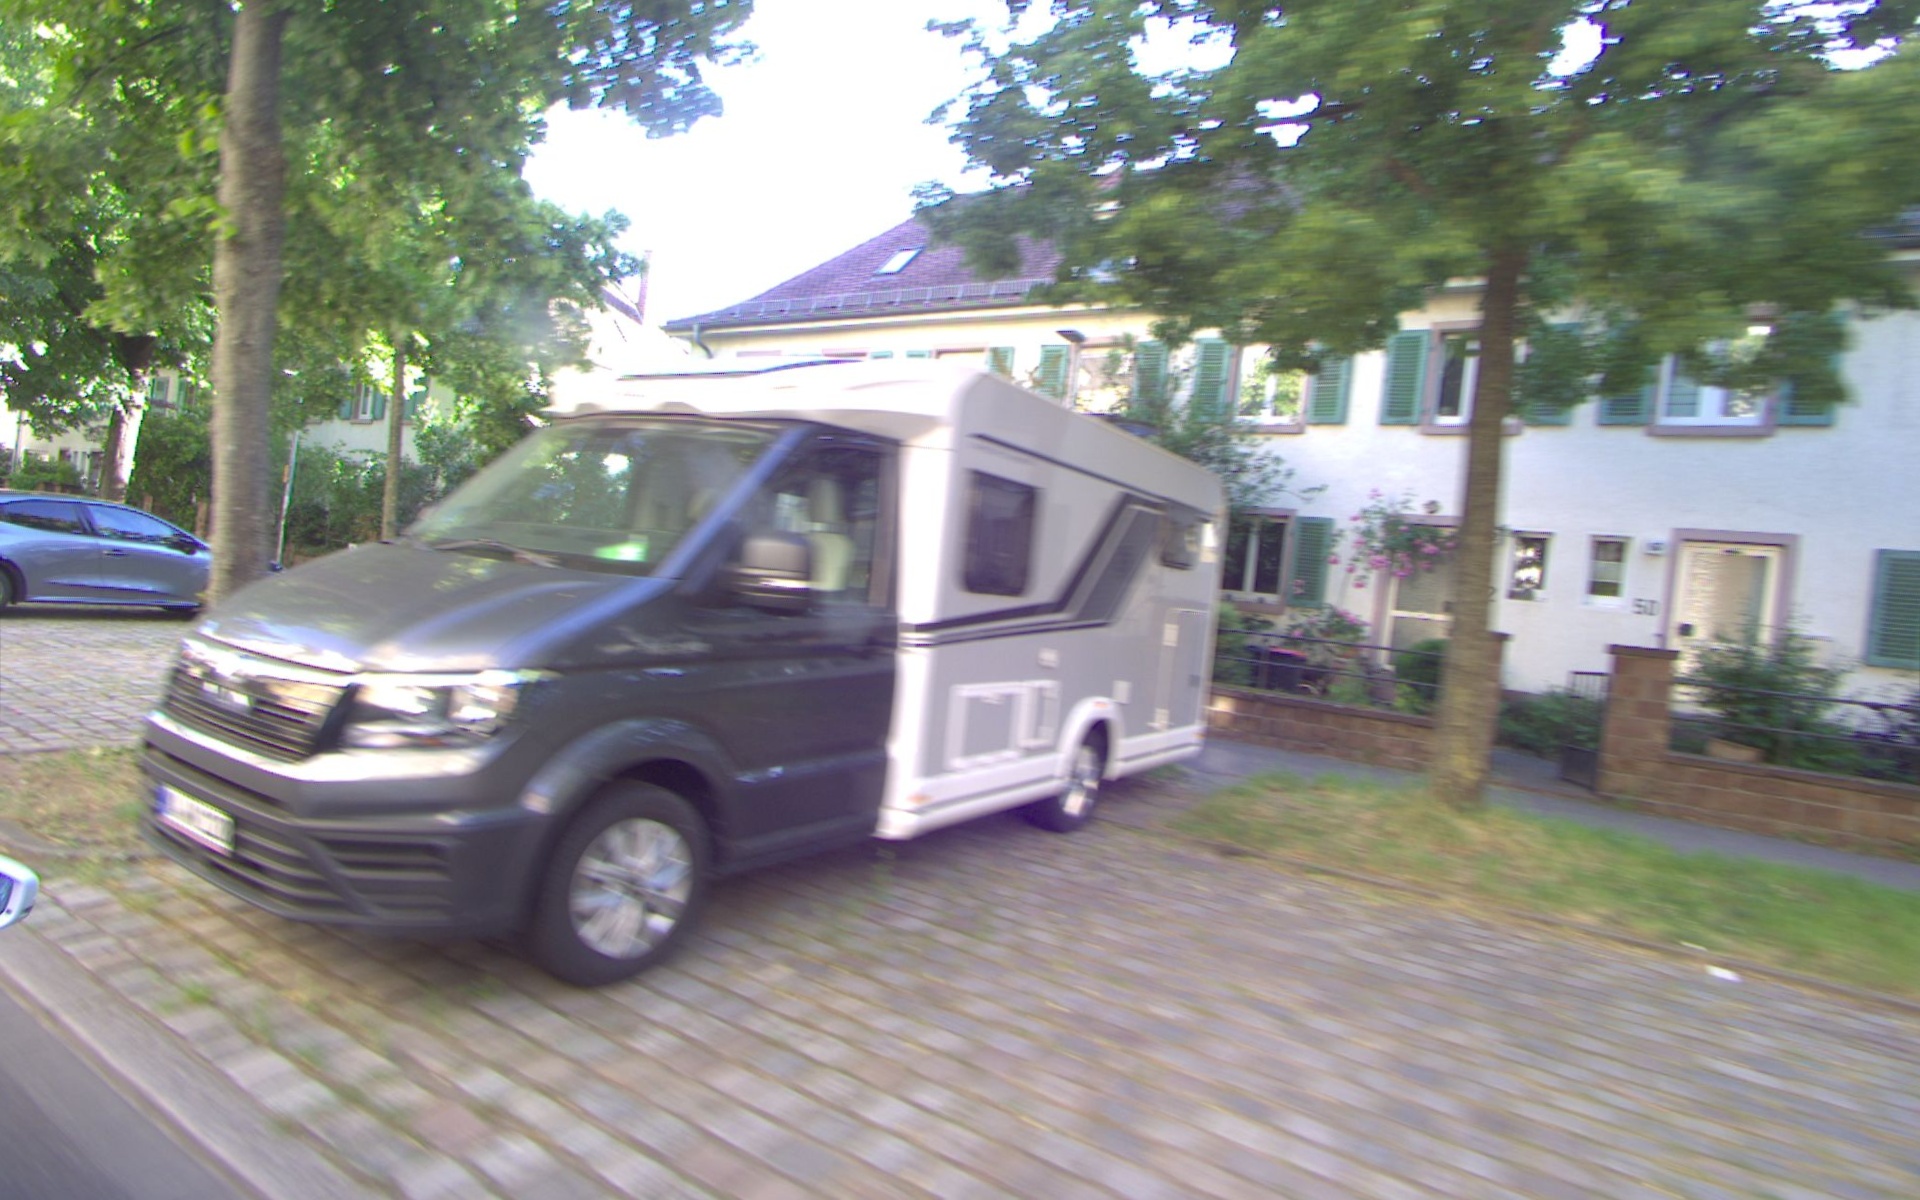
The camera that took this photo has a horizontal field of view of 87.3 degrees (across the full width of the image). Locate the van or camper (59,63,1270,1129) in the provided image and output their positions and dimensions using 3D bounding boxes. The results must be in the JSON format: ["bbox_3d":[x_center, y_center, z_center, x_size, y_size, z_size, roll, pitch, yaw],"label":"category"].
[{"bbox_3d":[-0.479,-0.029,6.180,2.424,2.683,7.142,7,3,33],"label":"van or camper"}]

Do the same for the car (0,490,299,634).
[{"bbox_3d":[-10.735,-0.478,12.321,1.661,1.472,4.040,7,0,28],"label":"car"}]

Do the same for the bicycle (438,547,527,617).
[{"bbox_3d":[-8.903,-0.337,18.723,1.790,1.143,0.564,6,2,32],"label":"bicycle"}]

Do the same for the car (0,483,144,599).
[{"bbox_3d":[-15.230,-1.006,15.130,1.664,1.619,4.225,5,-1,33],"label":"car"}]
